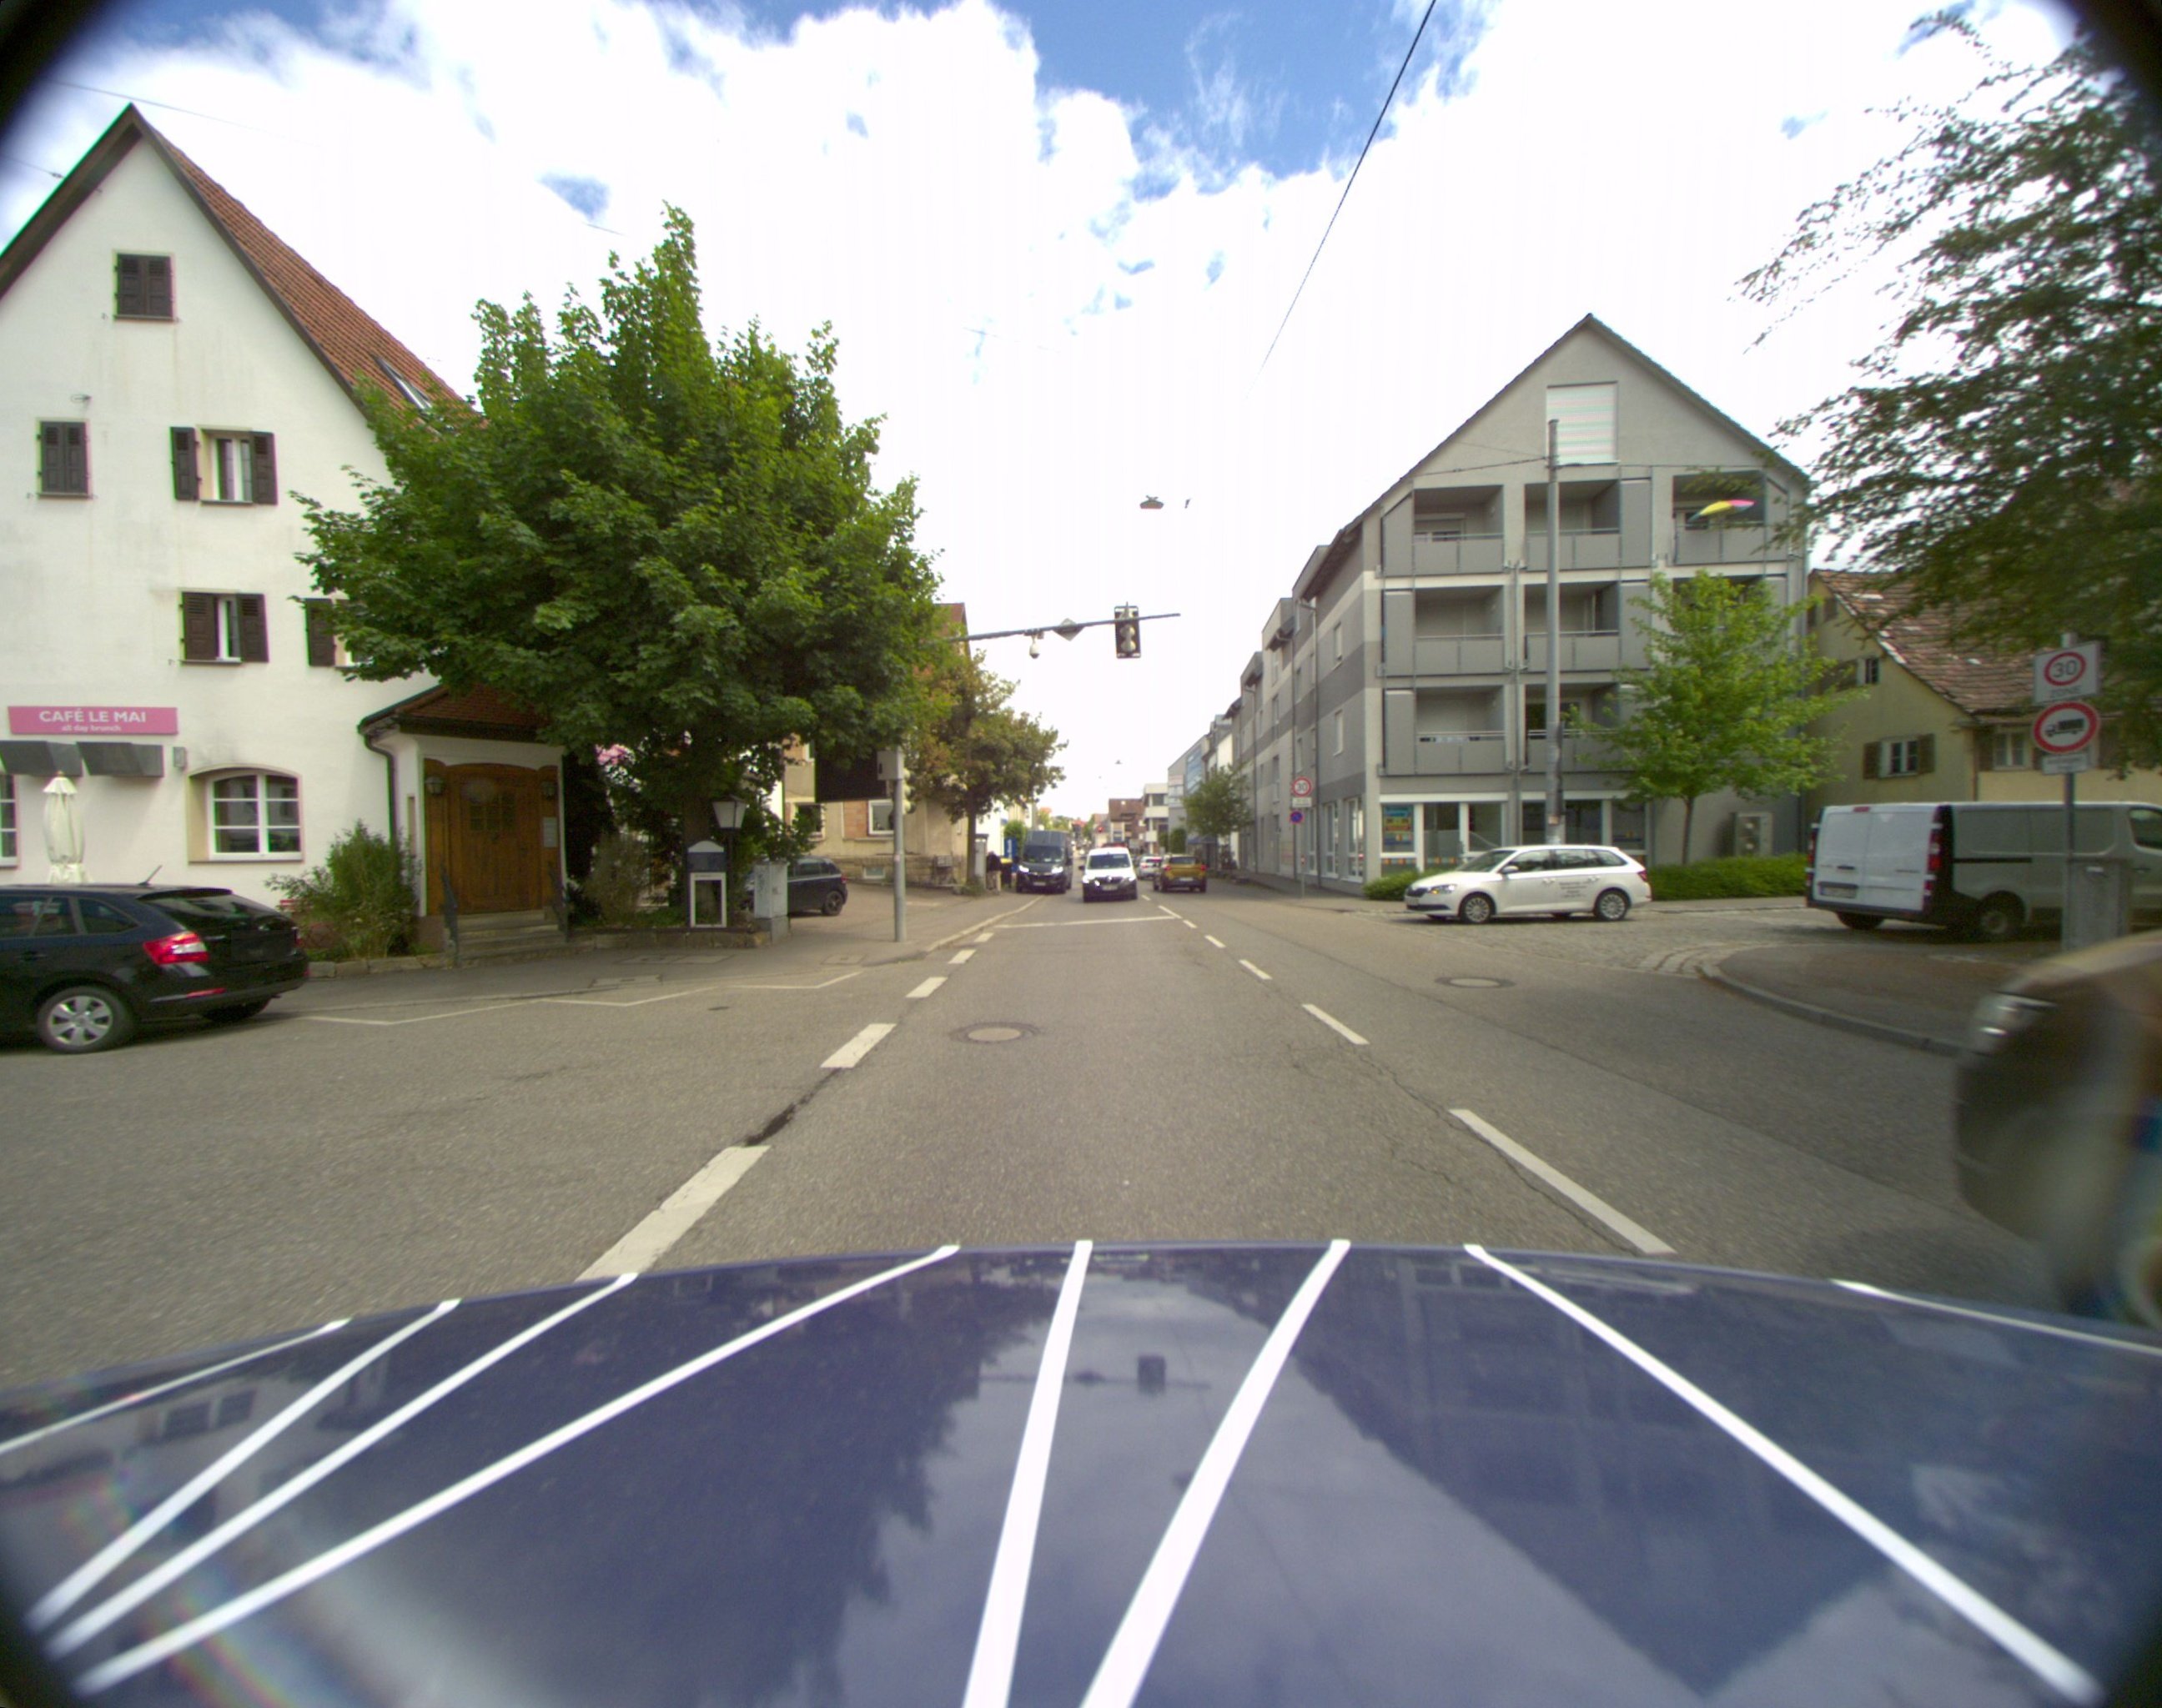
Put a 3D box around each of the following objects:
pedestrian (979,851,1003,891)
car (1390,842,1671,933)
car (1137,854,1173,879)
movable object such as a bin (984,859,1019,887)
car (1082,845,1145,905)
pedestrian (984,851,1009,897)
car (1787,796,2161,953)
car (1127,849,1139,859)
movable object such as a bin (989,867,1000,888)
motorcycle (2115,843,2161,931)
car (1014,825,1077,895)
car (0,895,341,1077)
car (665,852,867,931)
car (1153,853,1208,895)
[{"bbox_3d":[-3.785,0.703,32.081,0.786,1.633,0.798,-1,1,7],"label":"pedestrian"},{"bbox_3d":[8.403,0.608,14.500,4.222,1.504,1.822,-2,-1,1],"label":"car"},{"bbox_3d":[4.494,0.734,46.604,1.879,1.416,4.115,-2,0,1],"label":"car"},{"bbox_3d":[-3.703,0.855,35.431,1.188,1.258,1.207,-2,1,-30],"label":"movable object such as a bin"},{"bbox_3d":[1.020,0.645,25.869,1.871,1.805,5.006,-2,0,0],"label":"car"},{"bbox_3d":[-3.371,0.783,30.372,0.742,1.772,0.900,-1,1,7],"label":"pedestrian"},{"bbox_3d":[13.660,0.249,11.169,4.633,1.997,2.095,-2,0,-1],"label":"car"},{"bbox_3d":[8.764,0.043,127.134,1.808,1.521,4.001,-1,1,7],"label":"car"},{"bbox_3d":[-3.912,1.066,34.329,0.410,0.933,0.273,3,1,-10],"label":"movable object such as a bin"},{"bbox_3d":[16.960,0.512,11.115,0.843,1.325,2.135,-1,1,4],"label":"motorcycle"},{"bbox_3d":[-1.440,0.224,33.615,2.153,2.754,6.250,-1,0,3],"label":"car"},{"bbox_3d":[-9.818,1.136,6.840,4.187,1.407,1.777,0,-1,-15],"label":"car"},{"bbox_3d":[-7.011,0.776,17.366,1.752,1.508,4.087,3,0,26],"label":"car"},{"bbox_3d":[3.970,0.769,30.928,1.732,1.529,4.000,-2,0,1],"label":"car"}]
